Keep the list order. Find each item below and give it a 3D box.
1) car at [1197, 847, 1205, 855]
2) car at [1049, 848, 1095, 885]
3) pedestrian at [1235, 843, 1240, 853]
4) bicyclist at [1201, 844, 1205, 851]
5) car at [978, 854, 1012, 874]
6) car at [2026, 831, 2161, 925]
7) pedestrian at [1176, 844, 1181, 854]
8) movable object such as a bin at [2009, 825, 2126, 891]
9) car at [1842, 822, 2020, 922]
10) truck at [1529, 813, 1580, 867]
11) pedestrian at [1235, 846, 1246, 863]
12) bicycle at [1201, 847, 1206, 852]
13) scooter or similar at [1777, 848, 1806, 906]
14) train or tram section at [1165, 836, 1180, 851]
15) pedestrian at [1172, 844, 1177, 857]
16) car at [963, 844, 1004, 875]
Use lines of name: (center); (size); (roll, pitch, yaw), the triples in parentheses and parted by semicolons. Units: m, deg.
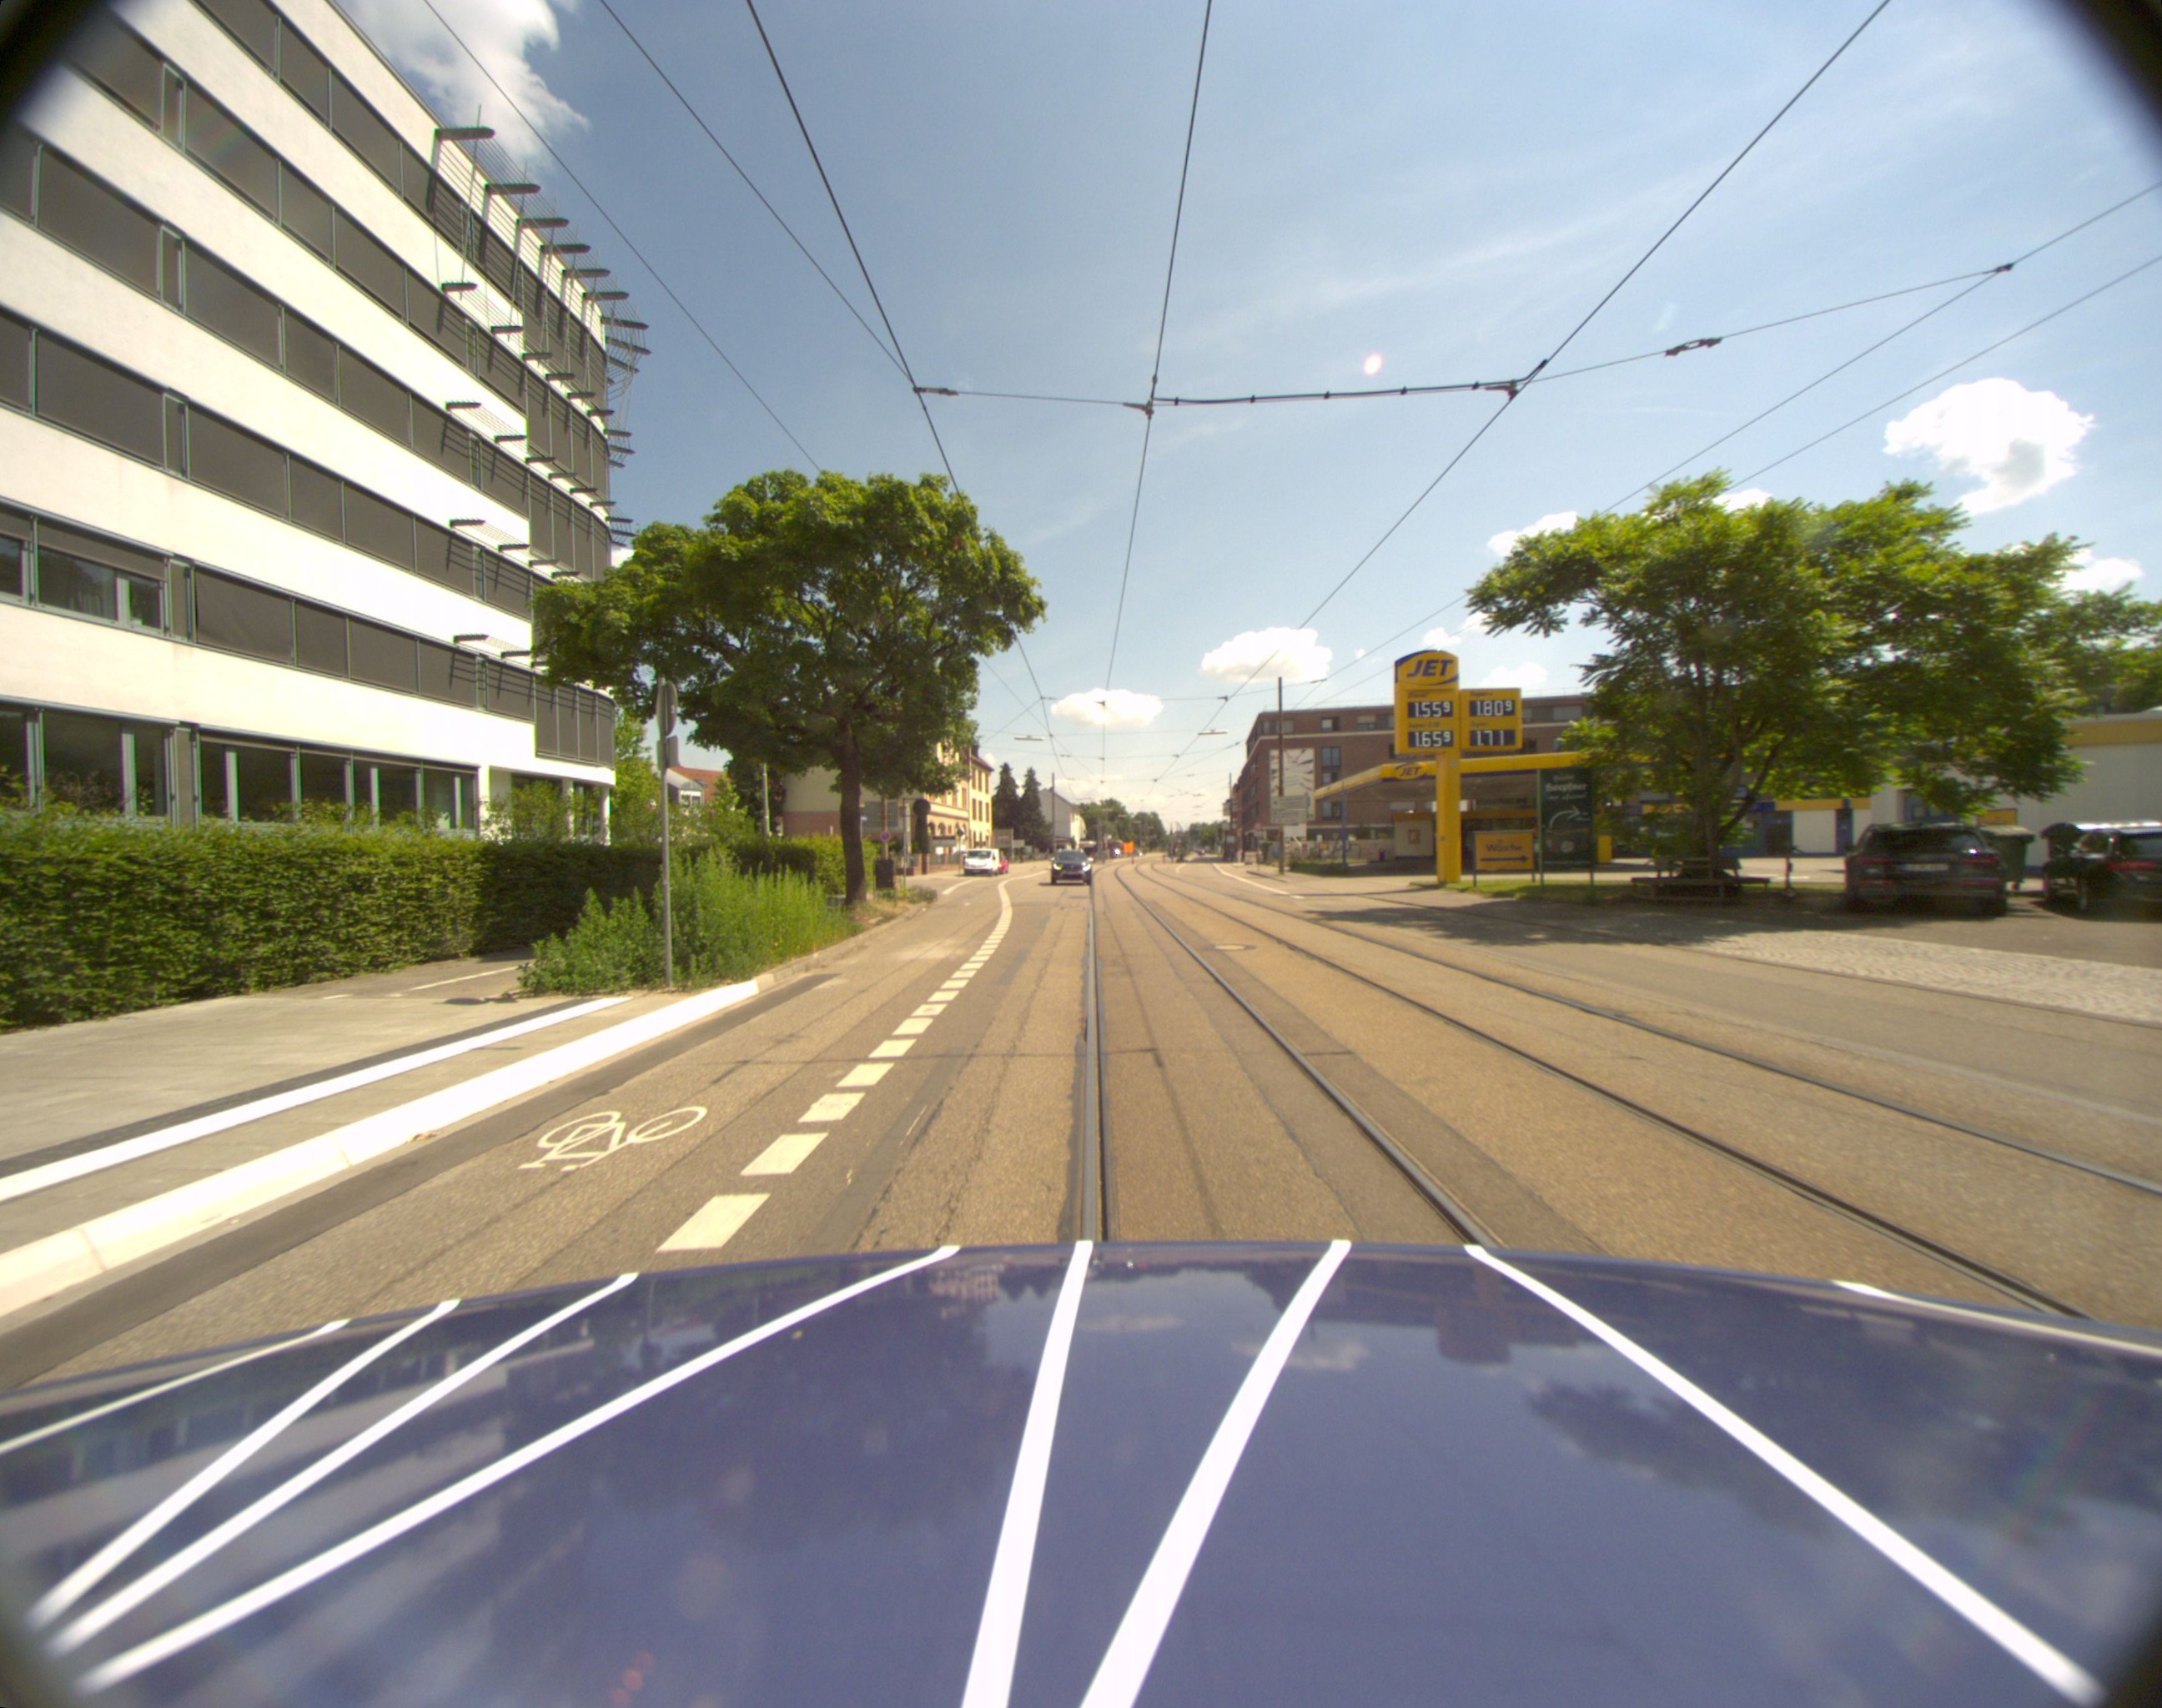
car: (31.999, -0.890, 202.478); (2.020, 2.002, 4.002); (-3, 0, 8)
car: (-0.362, 0.531, 35.280); (1.845, 1.565, 4.488); (-1, 1, 3)
pedestrian: (25.169, -0.983, 122.085); (0.686, 1.587, 0.761); (0, 1, 8)
bicyclist: (28.326, -1.517, 176.695); (0.760, 1.495, 1.065); (-1, 1, 3)
car: (-6.692, 0.770, 59.488); (1.998, 1.433, 4.017); (-2, 0, 2)
car: (17.988, 0.325, 12.835); (1.905, 1.387, 4.342); (-1, 1, 43)
pedestrian: (15.399, -0.784, 119.791); (0.761, 1.685, 0.809); (0, 1, 8)
movable object such as a bin: (20.859, 0.088, 16.098); (1.346, 1.346, 0.759); (-1, 1, 13)
car: (15.702, 0.236, 14.256); (4.342, 1.581, 1.994); (-2, 1, -45)
truck: (23.252, -0.692, 37.387); (1.994, 2.484, 5.212); (-1, 1, 32)
pedestrian: (15.168, 0.049, 72.262); (0.762, 1.587, 1.000); (-4, 1, 4)
bicycle: (28.456, -1.074, 176.616); (0.818, 1.215, 2.390); (0, 1, 5)
scooter or similar: (15.194, 0.467, 16.240); (0.405, 1.167, 1.363); (0, 1, 45)
train or tram section: (23.579, -2.707, 195.336); (3.241, 3.547, 16.358); (-1, 1, 9)
pedestrian: (12.781, -0.531, 103.744); (0.686, 1.750, 1.034); (0, 1, 8)
car: (-6.784, 0.351, 53.380); (1.998, 1.980, 5.514); (1, 0, 1)
